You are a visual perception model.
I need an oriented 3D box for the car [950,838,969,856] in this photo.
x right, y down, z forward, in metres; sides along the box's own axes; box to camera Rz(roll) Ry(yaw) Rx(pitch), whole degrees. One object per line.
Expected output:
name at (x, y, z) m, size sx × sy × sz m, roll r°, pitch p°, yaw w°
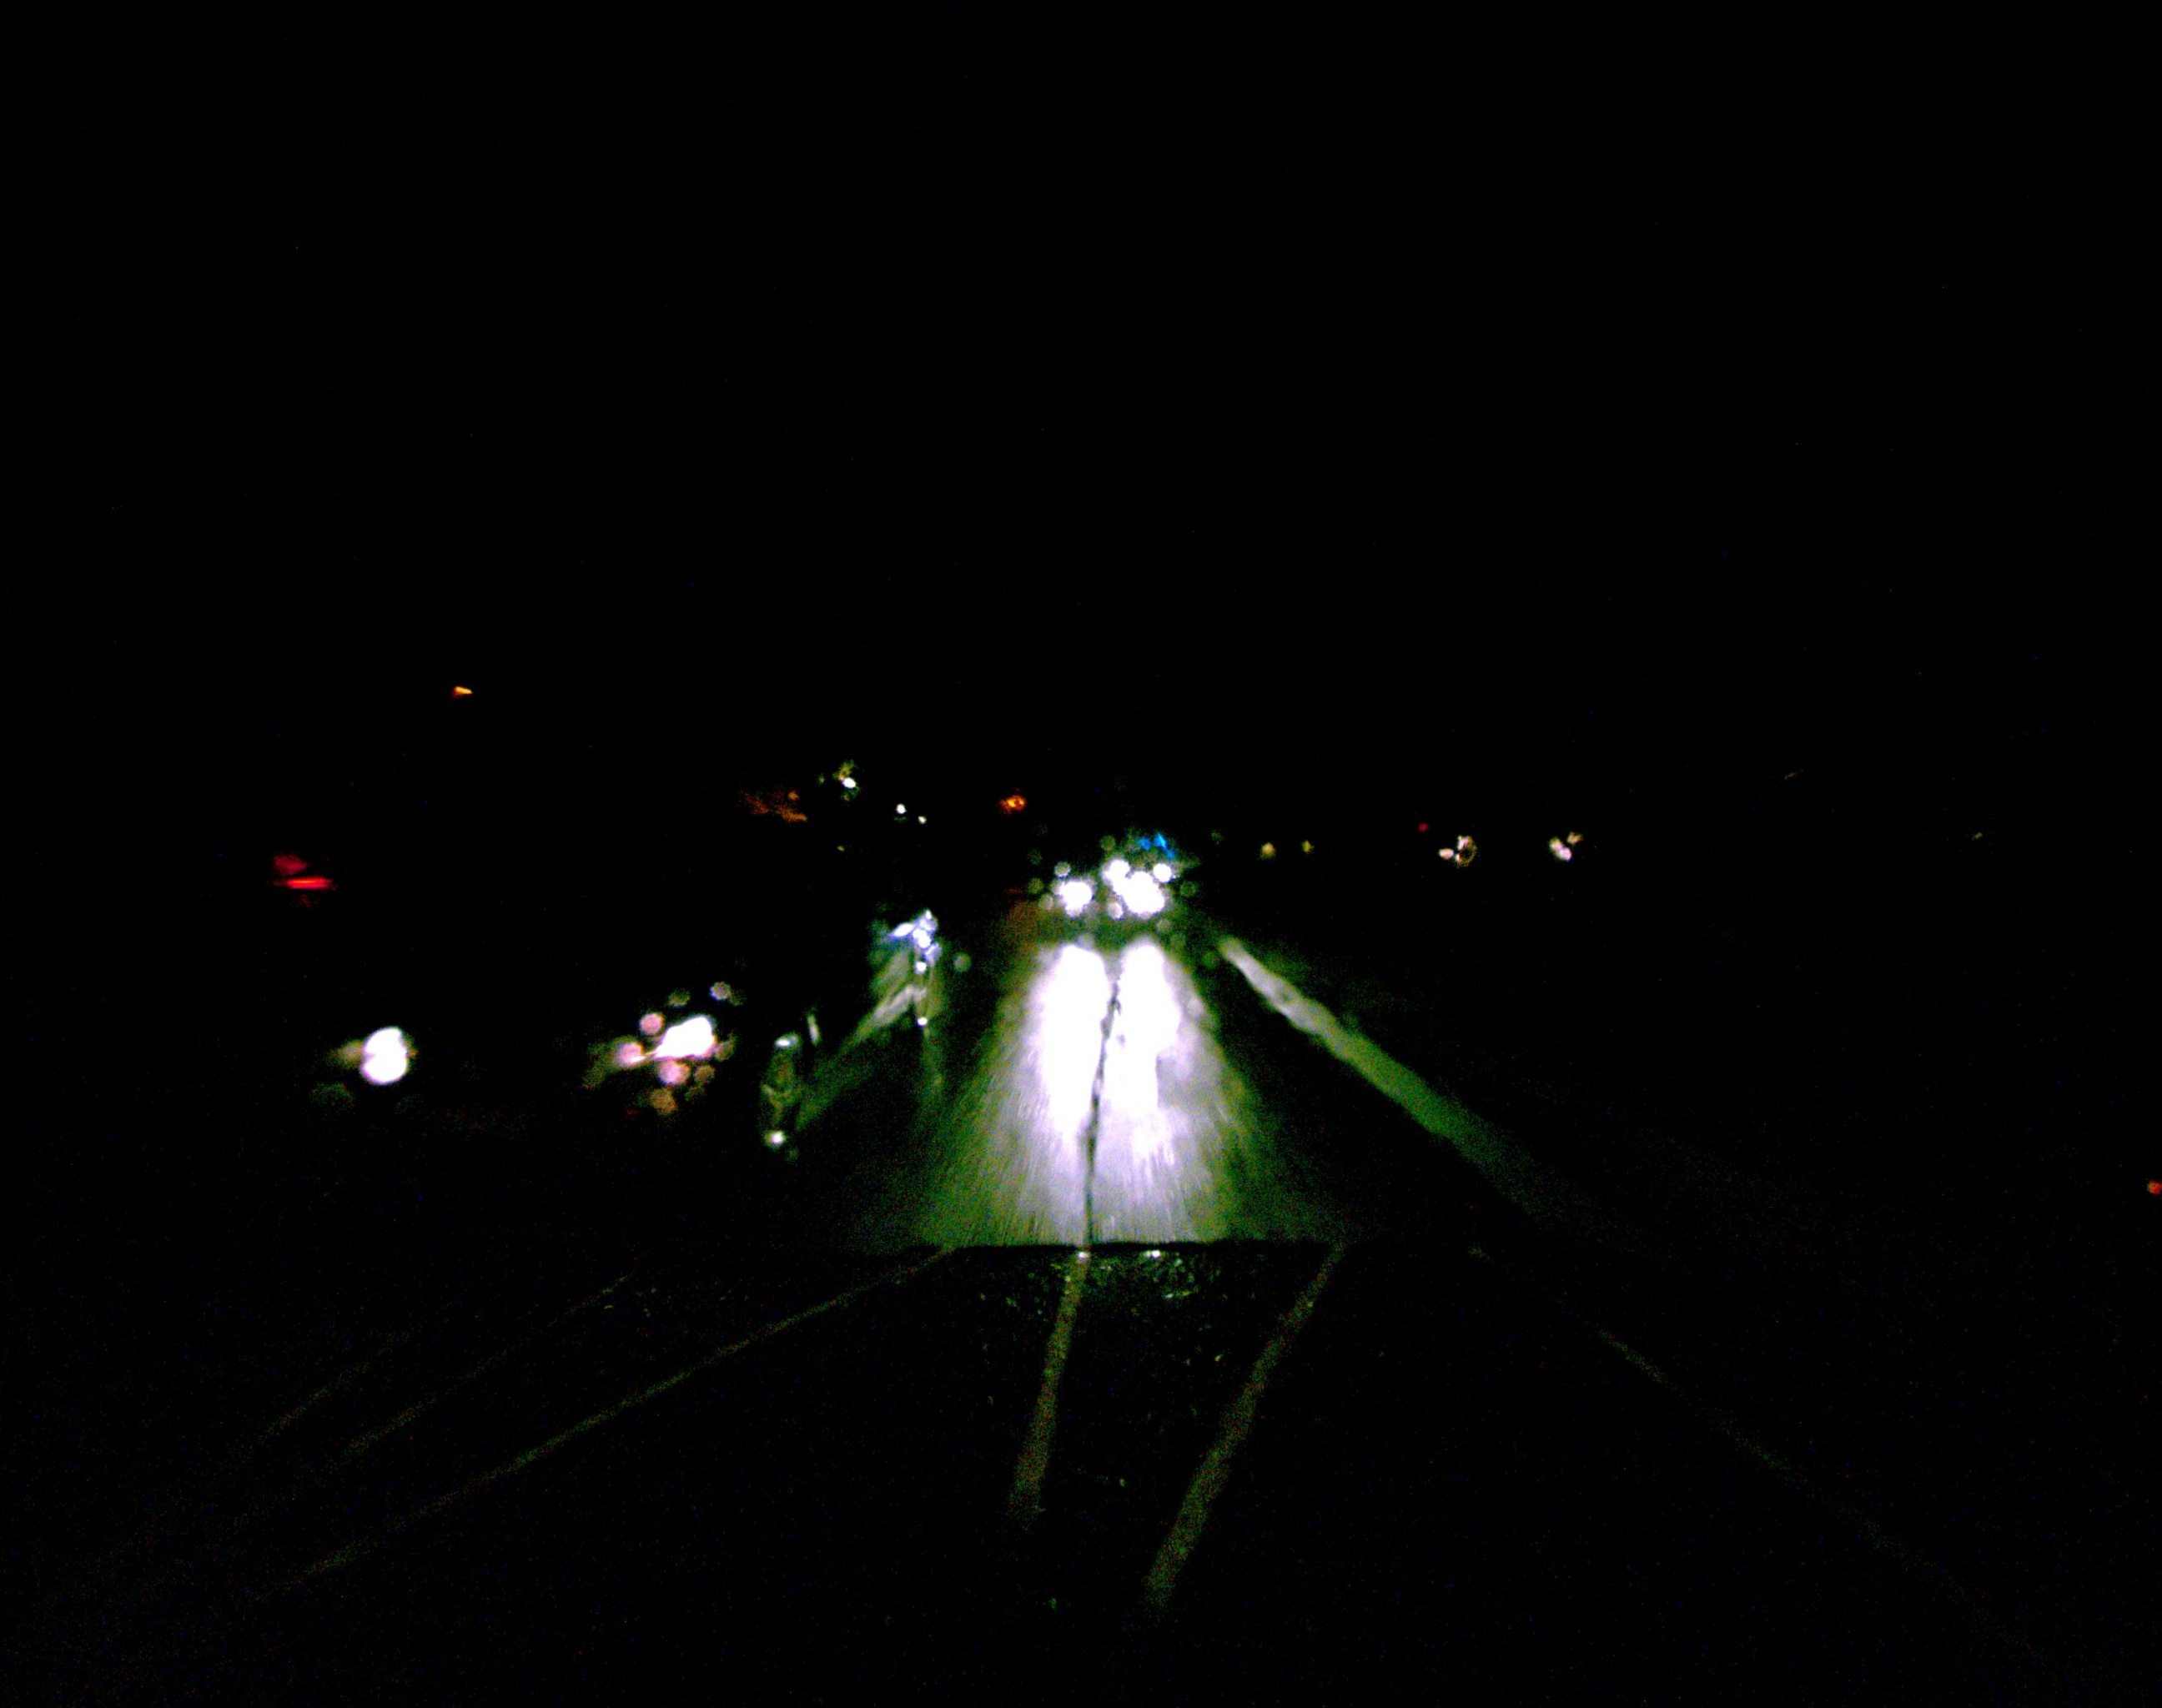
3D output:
car at (-14.353, -0.844, 89.731) m, size 2.000 × 2.002 × 3.996 m, roll -3°, pitch 1°, yaw -10°

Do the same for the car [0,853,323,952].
car at (-17.444, 0.823, 13.880) m, size 1.722 × 1.474 × 4.714 m, roll -2°, pitch 1°, yaw 26°

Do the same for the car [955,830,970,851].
car at (-16.609, -1.894, 106.604) m, size 1.936 × 2.759 × 4.251 m, roll -3°, pitch 1°, yaw -9°

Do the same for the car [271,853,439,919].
car at (-18.594, 0.818, 19.453) m, size 3.938 × 1.478 × 1.767 m, roll -2°, pitch 1°, yaw 26°

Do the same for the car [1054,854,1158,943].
car at (0.702, 0.870, 16.877) m, size 1.825 × 1.573 × 4.356 m, roll -3°, pitch 1°, yaw 7°

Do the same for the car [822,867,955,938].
car at (-4.536, 1.093, 18.607) m, size 1.788 × 1.433 × 4.239 m, roll -1°, pitch 0°, yaw 6°

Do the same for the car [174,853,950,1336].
car at (-2.402, 0.925, 5.350) m, size 1.839 × 1.725 × 4.941 m, roll -3°, pitch 1°, yaw 2°

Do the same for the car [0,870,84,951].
car at (-21.393, 1.119, 14.872) m, size 3.989 × 1.422 × 1.848 m, roll -2°, pitch 1°, yaw 32°

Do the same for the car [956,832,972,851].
car at (-15.655, -1.654, 101.191) m, size 1.936 × 2.406 × 4.251 m, roll -3°, pitch 1°, yaw -9°

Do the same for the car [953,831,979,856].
car at (-9.813, -0.886, 64.513) m, size 2.000 × 2.002 × 3.996 m, roll -3°, pitch 1°, yaw -9°

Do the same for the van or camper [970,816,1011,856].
van or camper at (-6.942, -1.333, 57.703) m, size 2.416 × 2.777 × 5.766 m, roll -3°, pitch 1°, yaw -12°
